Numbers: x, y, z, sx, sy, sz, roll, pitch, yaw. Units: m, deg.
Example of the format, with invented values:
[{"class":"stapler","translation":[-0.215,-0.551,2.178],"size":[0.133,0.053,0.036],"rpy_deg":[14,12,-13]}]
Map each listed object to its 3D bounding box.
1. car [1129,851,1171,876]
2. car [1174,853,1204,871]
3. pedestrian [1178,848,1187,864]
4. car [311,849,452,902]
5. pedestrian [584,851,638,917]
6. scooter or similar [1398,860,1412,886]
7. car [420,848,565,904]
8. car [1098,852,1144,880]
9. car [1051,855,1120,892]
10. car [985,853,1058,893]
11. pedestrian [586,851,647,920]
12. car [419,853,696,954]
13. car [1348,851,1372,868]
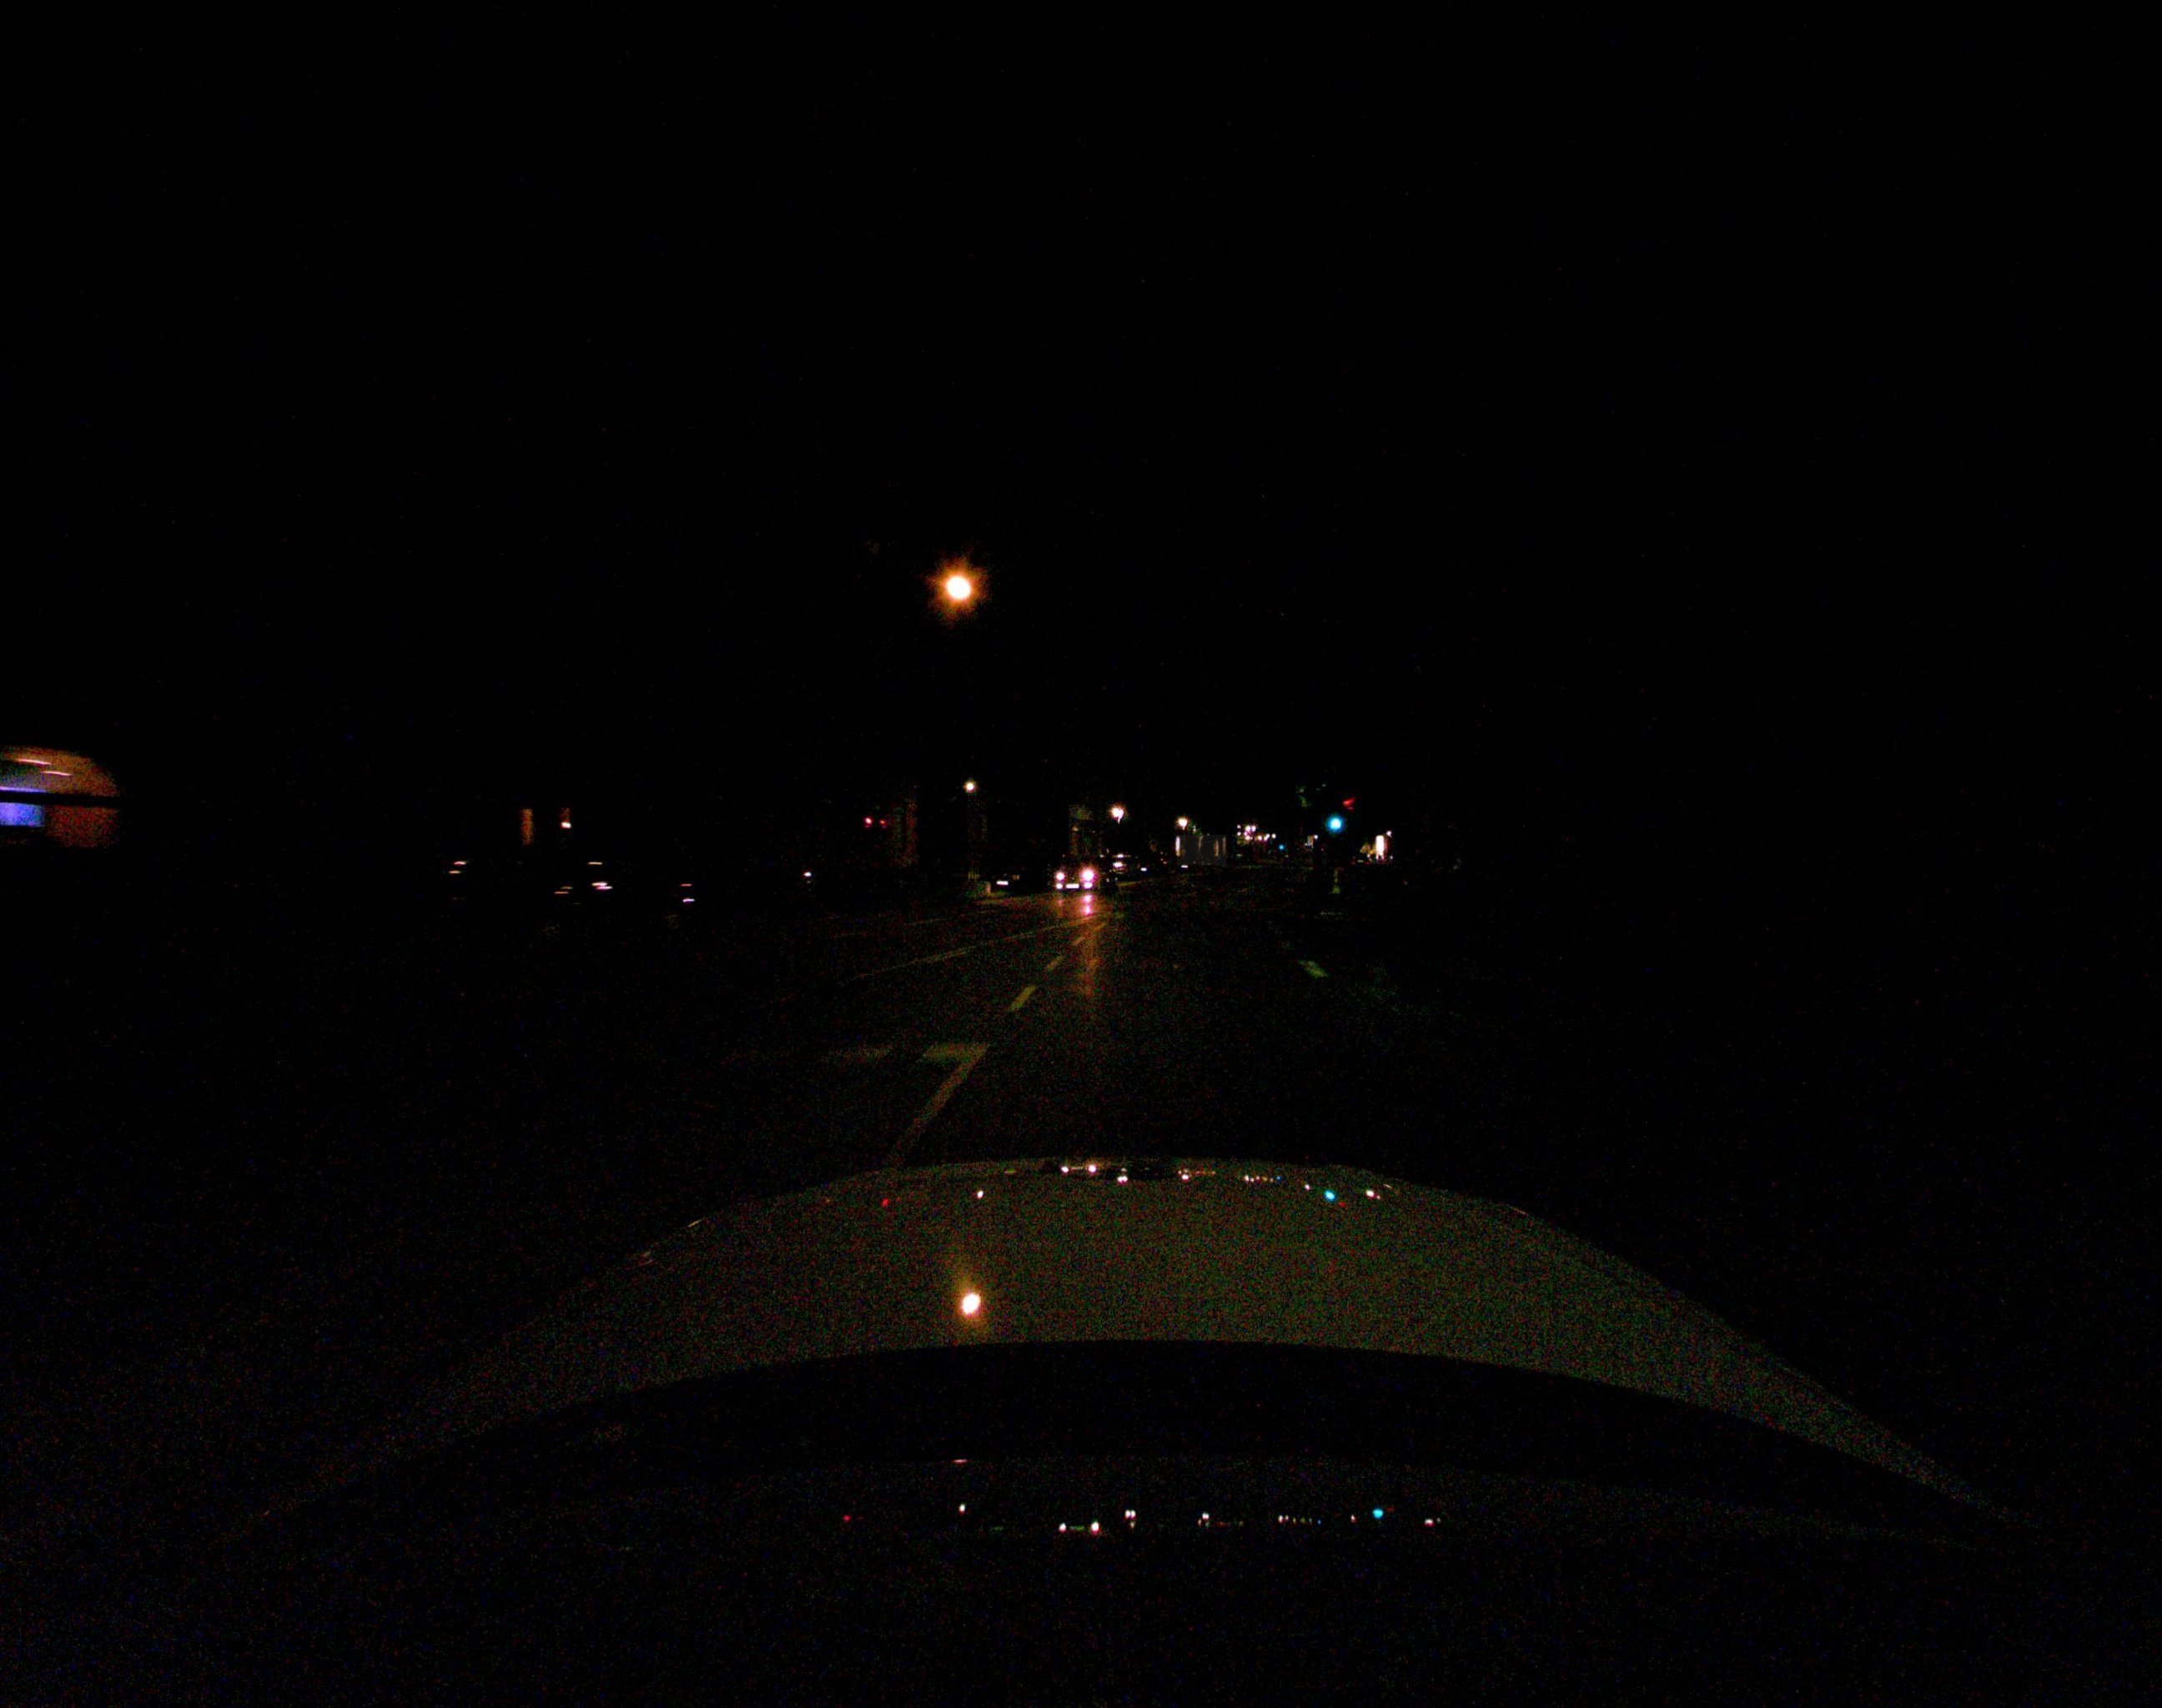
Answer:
[{"class":"car","translation":[4.884,0.604,56.919],"size":[1.770,1.581,4.433],"rpy_deg":[3,1,20]},{"class":"car","translation":[9.173,0.618,68.993],"size":[1.770,1.415,4.145],"rpy_deg":[1,1,17]},{"class":"pedestrian","translation":[11.715,0.262,94.173],"size":[0.727,1.822,0.686],"rpy_deg":[2,-1,-28]},{"class":"car","translation":[-24.545,0.716,28.592],"size":[3.956,1.776,1.909],"rpy_deg":[0,0,17]},{"class":"pedestrian","translation":[-12.391,0.777,21.503],"size":[0.703,1.690,1.004],"rpy_deg":[-1,0,29]},{"class":"scooter or similar","translation":[14.670,0.856,36.865],"size":[0.418,1.130,1.502],"rpy_deg":[-1,0,26]},{"class":"car","translation":[-19.607,0.698,27.165],"size":[3.956,1.776,1.909],"rpy_deg":[0,0,17]},{"class":"car","translation":[2.440,0.681,49.242],"size":[1.771,1.491,4.018],"rpy_deg":[2,1,17]},{"class":"car","translation":[0.257,0.783,34.464],"size":[1.701,1.429,4.019],"rpy_deg":[-2,0,19]},{"class":"car","translation":[-2.517,0.759,35.270],"size":[1.578,1.491,3.720],"rpy_deg":[3,2,23]},{"class":"pedestrian","translation":[-11.799,0.771,20.712],"size":[0.703,1.690,1.131],"rpy_deg":[-1,0,29]},{"class":"car","translation":[-9.603,0.800,15.360],"size":[1.870,1.596,4.044],"rpy_deg":[1,0,20]},{"class":"car","translation":[24.971,0.428,73.023],"size":[1.721,1.459,4.746],"rpy_deg":[0,0,15]}]
